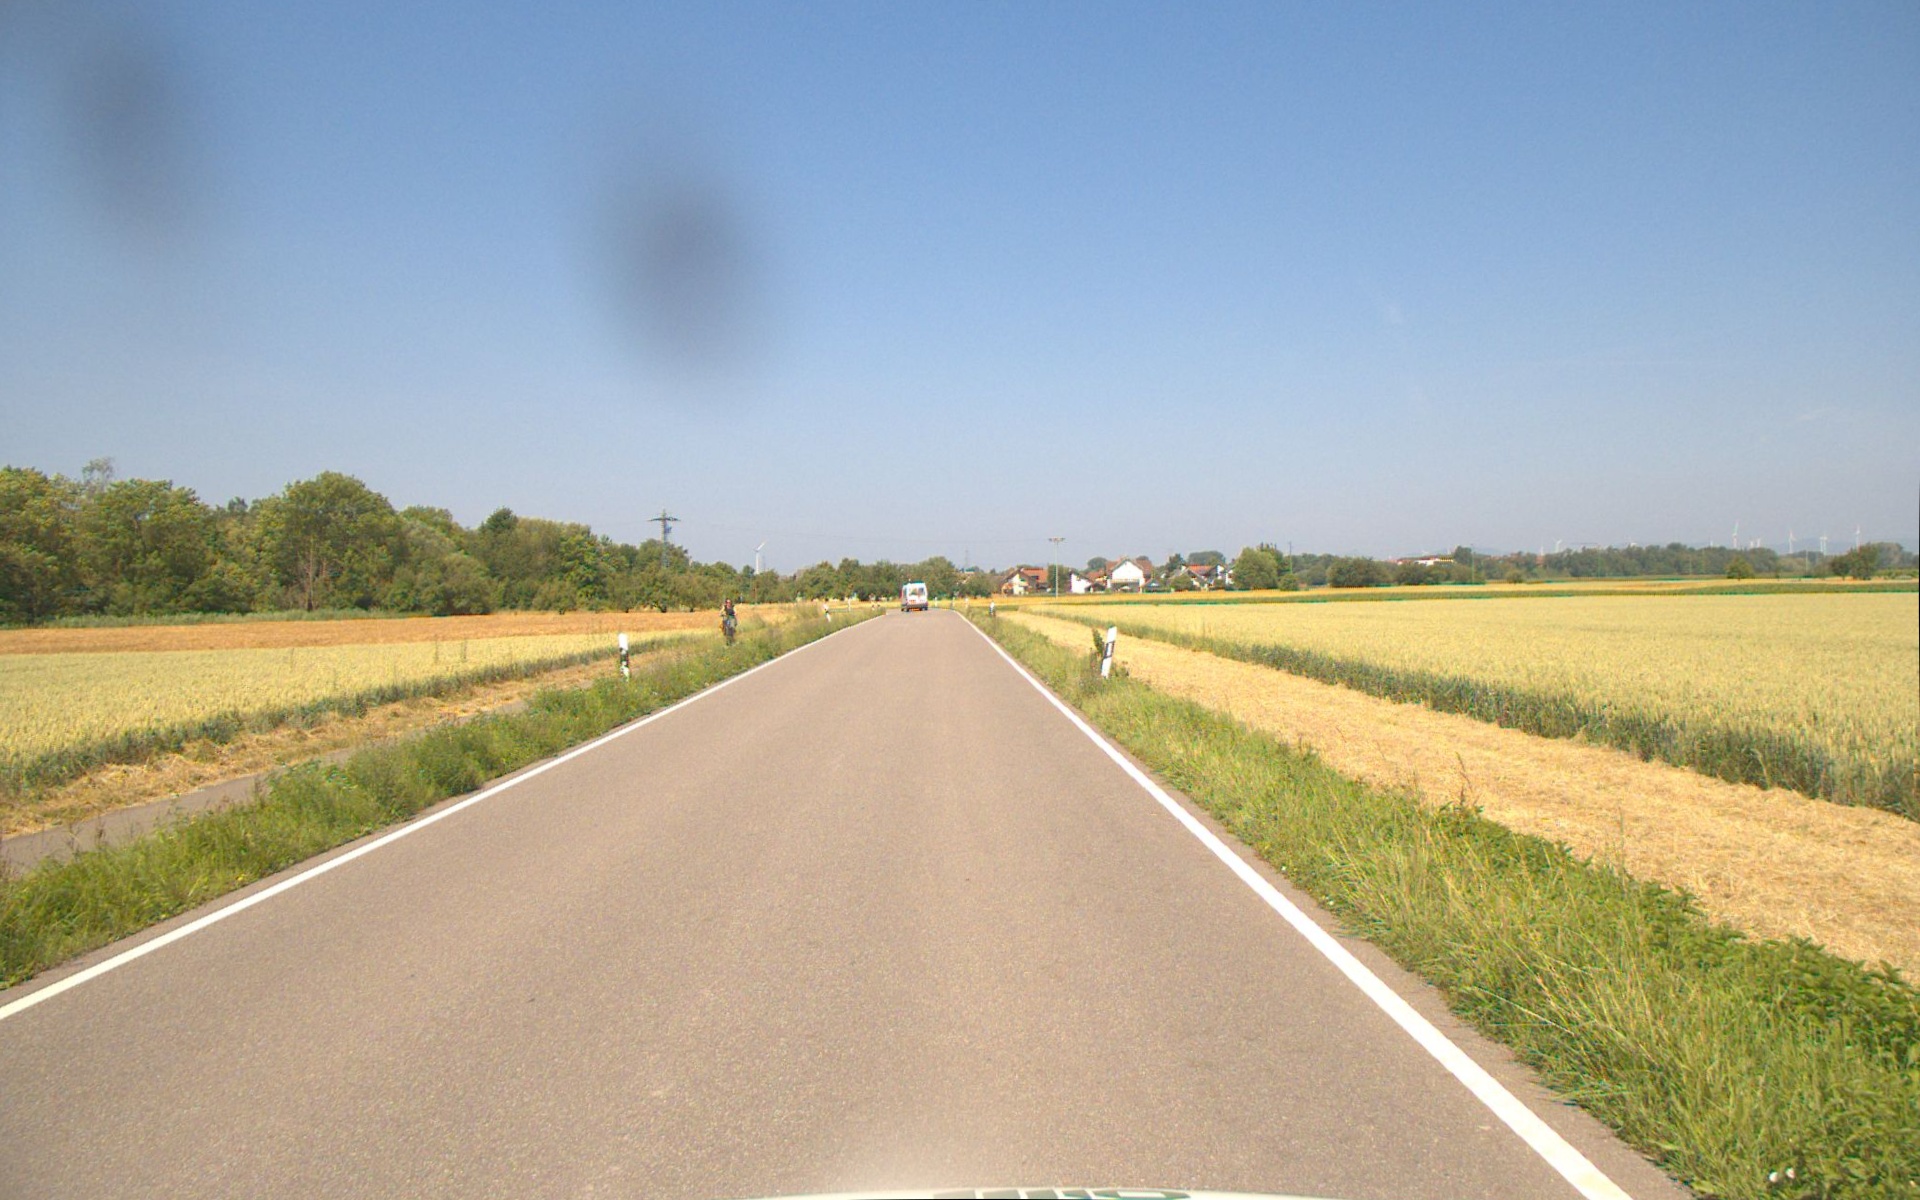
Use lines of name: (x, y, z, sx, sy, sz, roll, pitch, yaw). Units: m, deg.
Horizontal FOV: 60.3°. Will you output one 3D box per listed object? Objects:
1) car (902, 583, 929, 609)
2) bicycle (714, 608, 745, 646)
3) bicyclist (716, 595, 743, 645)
car: (-4.141, -0.377, 153.110, 2.066, 2.344, 5.489, 1, 0, -5)
bicycle: (-8.102, 0.924, 58.182, 0.744, 1.257, 2.393, -3, 0, -1)
bicyclist: (-8.096, 0.700, 58.054, 0.744, 1.702, 1.088, -3, 0, -1)
